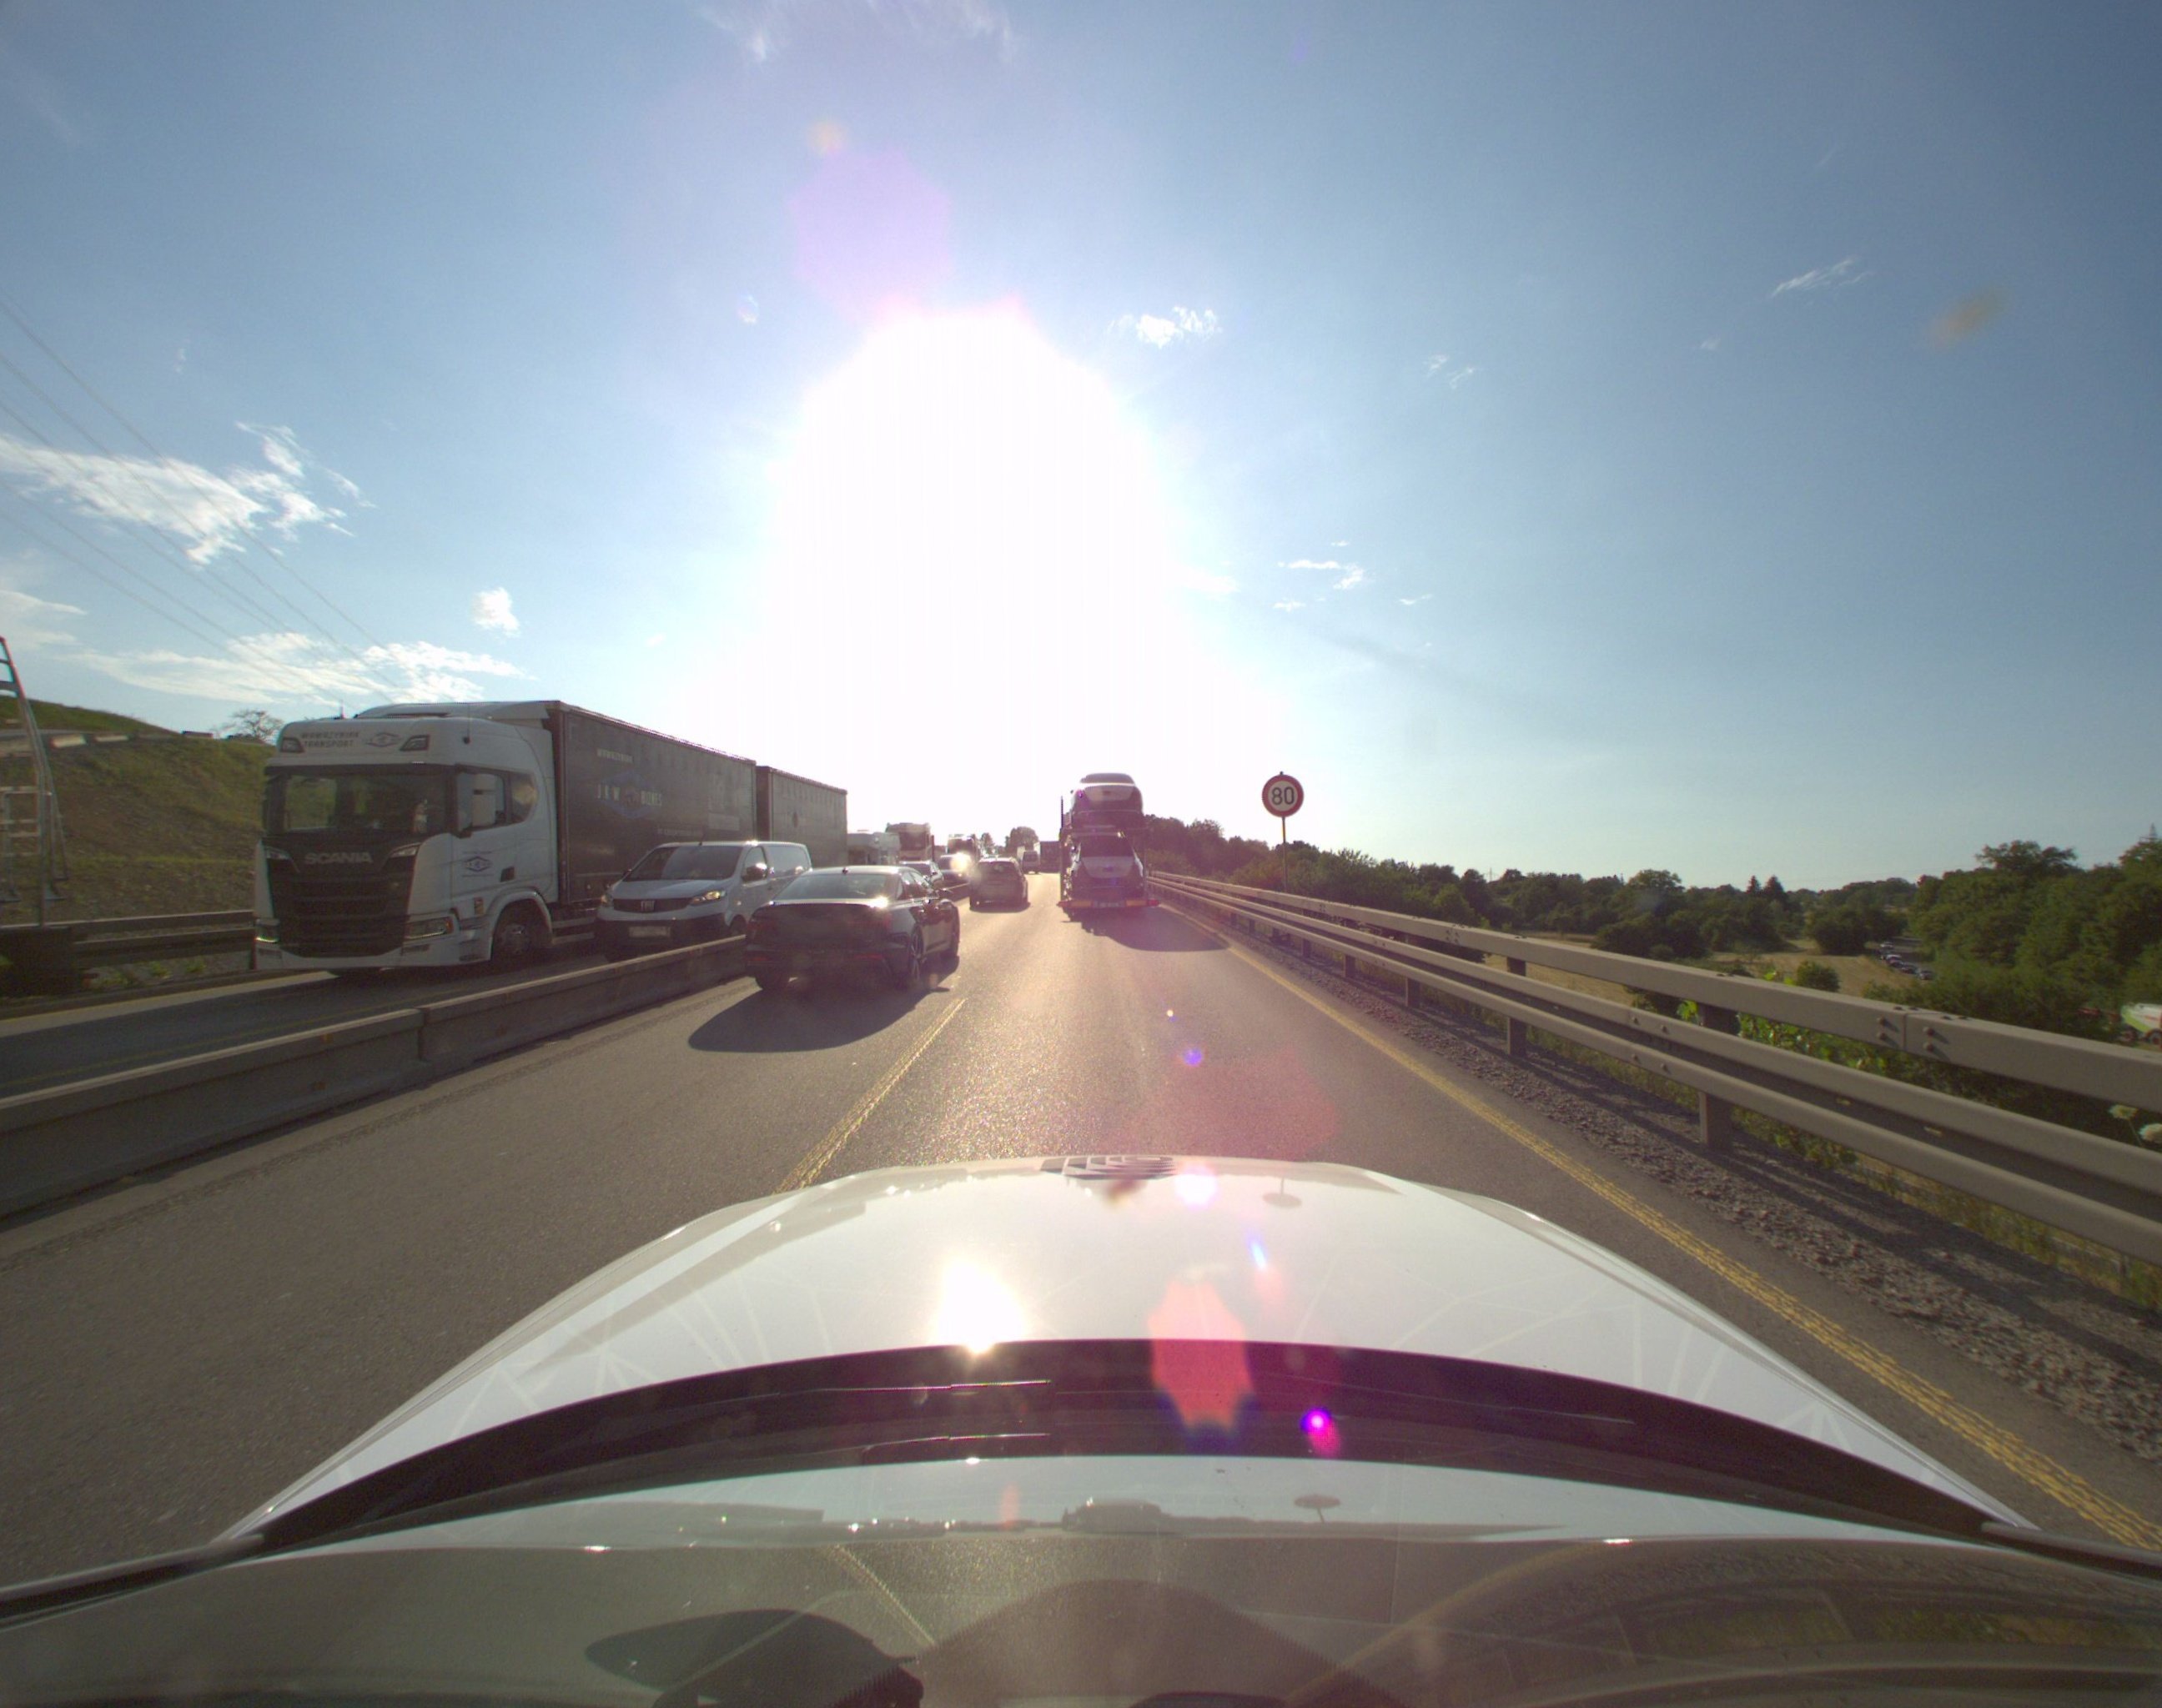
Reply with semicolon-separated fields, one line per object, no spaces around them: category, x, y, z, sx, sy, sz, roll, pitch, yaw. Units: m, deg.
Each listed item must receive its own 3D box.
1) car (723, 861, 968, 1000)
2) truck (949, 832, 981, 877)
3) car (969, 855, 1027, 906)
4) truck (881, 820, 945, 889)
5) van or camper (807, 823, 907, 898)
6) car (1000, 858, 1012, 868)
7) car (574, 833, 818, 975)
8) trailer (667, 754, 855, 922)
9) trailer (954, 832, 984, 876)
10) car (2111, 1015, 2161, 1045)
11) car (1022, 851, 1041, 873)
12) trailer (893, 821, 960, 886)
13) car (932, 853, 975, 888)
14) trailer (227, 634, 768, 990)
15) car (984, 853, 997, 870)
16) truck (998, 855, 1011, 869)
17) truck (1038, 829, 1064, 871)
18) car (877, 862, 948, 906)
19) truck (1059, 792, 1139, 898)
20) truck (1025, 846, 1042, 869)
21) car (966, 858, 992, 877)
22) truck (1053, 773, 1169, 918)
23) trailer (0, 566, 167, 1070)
car;-2.824;0.826;11.061;1.929;1.399;4.958;-1;0;-1
truck;-10.991;0.052;77.405;2.498;4.066;5.656;-1;-1;-4
car;-2.755;0.871;27.799;1.687;1.596;3.997;-1;-1;-2
truck;-9.754;0.078;47.993;2.594;3.754;6.511;-1;-1;-2
van or camper;-9.583;0.306;35.663;2.401;2.891;7.613;-1;-1;-1
car;-14.230;1.678;154.516;1.820;1.772;4.000;-1;-1;1
car;-6.081;0.717;13.636;1.811;1.925;4.834;-1;-1;-1
trailer;-9.239;-0.350;24.766;2.436;4.189;8.539;-1;-1;-1
trailer;-11.575;0.109;84.916;2.303;4.130;14.573;-1;-1;-5
car;104.509;17.390;80.609;1.858;2.014;4.025;-2;-1;33
car;-5.692;0.959;94.338;1.915;2.493;5.406;-1;-1;-1
trailer;-10.018;0.061;54.347;2.514;3.725;13.960;-1;-1;-3
car;-6.575;0.861;42.473;1.753;1.695;4.447;-1;-1;-4
trailer;-9.171;-0.464;15.226;2.468;4.329;10.509;-1;-1;0
car;-14.463;1.233;130.404;2.054;2.500;6.761;-1;-1;-6
truck;-17.547;1.789;187.645;2.584;3.170;6.670;-1;-1;-2
truck;-4.045;-0.440;108.553;3.278;5.237;9.924;-1;-1;-3
car;-6.162;1.064;30.206;1.675;1.479;4.601;-1;-1;0
truck;0.526;-0.270;34.675;2.830;3.792;9.978;-1;-1;-2
truck;-7.945;0.605;138.162;2.524;3.648;8.898;-1;-1;-2
car;-8.561;1.133;68.687;1.789;1.511;4.581;-1;-1;-2
truck;0.671;-0.145;25.173;2.791;3.497;10.600;-1;-1;-1
trailer;-9.439;-0.315;1.192;2.298;3.790;12.057;-1;-1;2
